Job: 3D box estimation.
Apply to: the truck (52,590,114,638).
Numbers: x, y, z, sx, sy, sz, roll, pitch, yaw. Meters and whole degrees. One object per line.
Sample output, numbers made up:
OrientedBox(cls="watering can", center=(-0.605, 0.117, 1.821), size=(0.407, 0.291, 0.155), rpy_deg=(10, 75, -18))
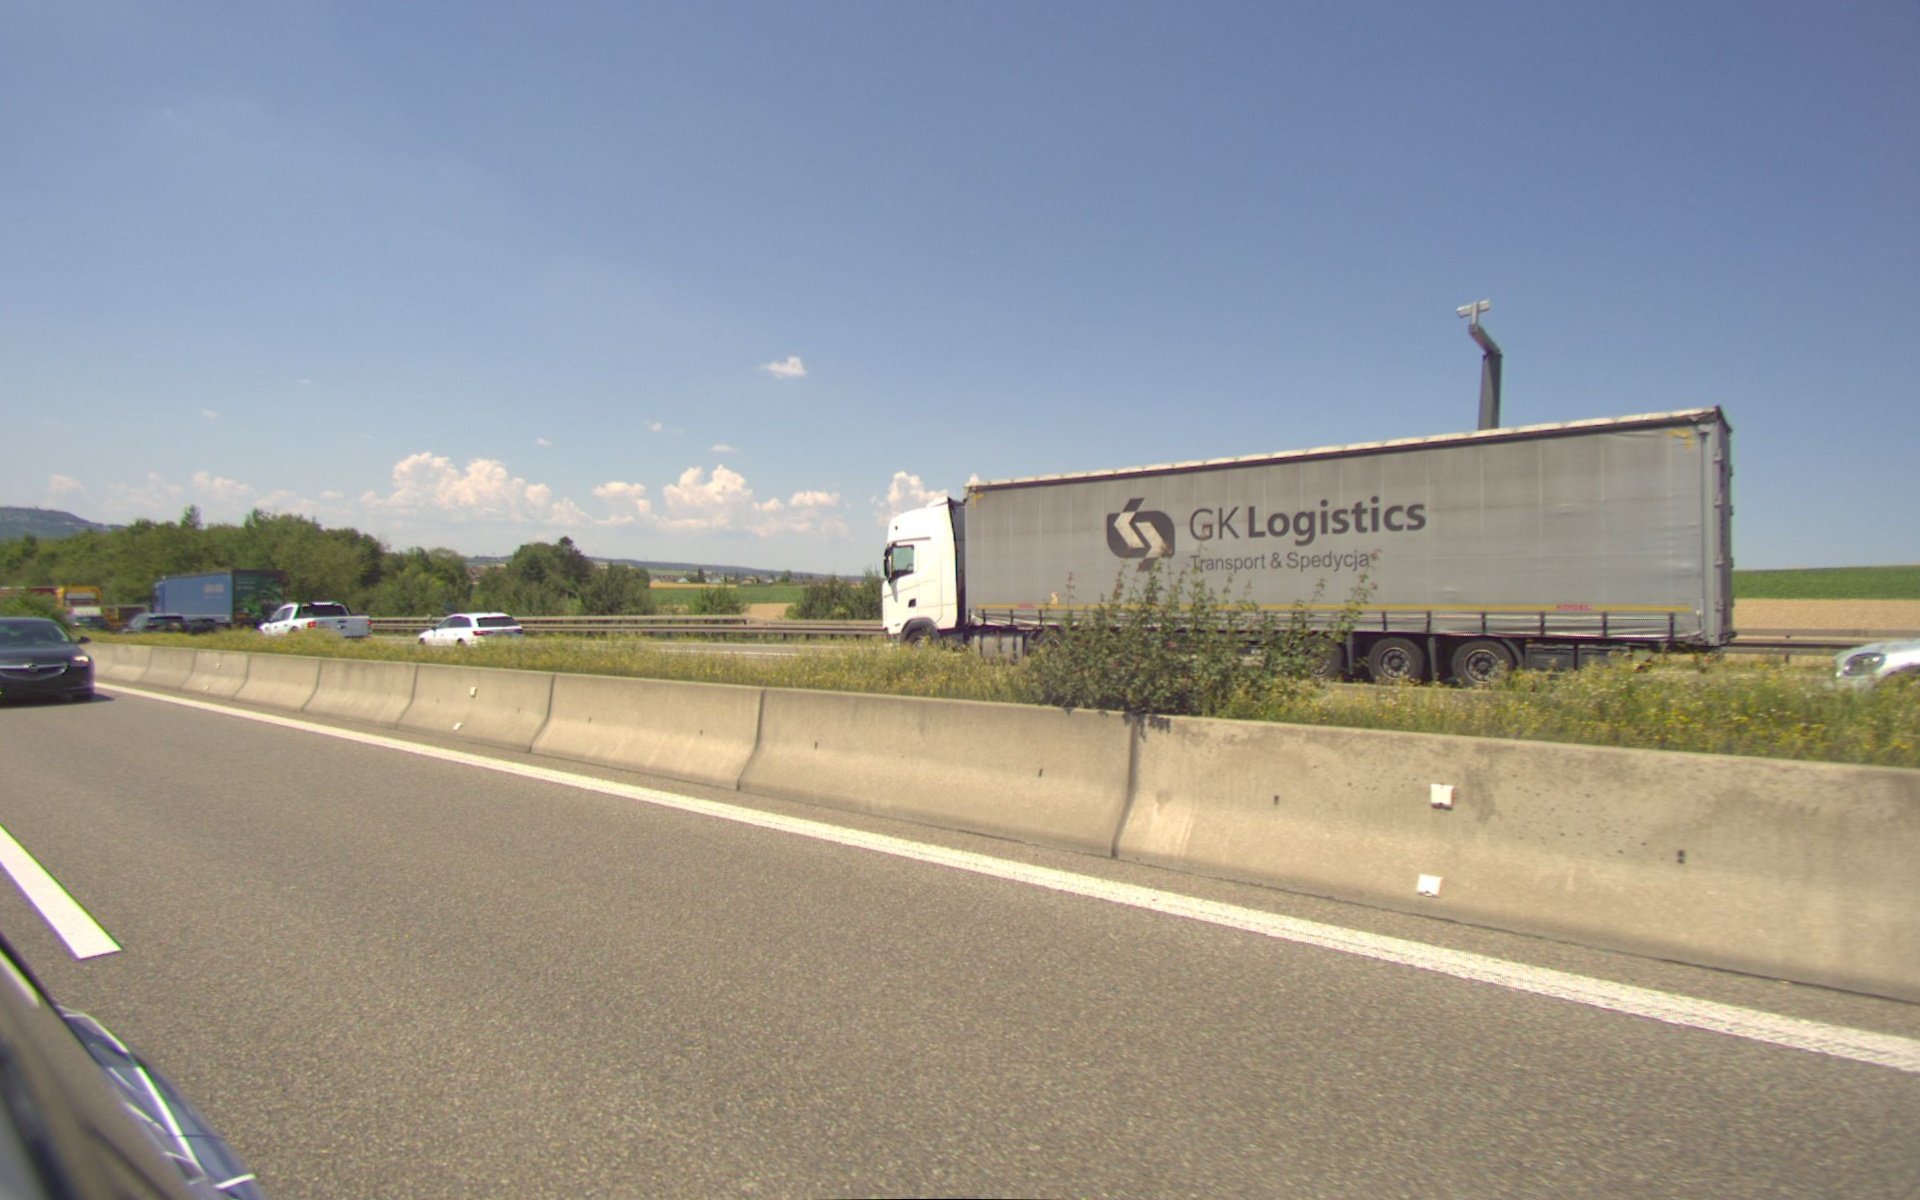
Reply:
OrientedBox(cls="truck", center=(-73.190, 1.171, 84.400), size=(7.090, 3.866, 2.724), rpy_deg=(-1, 0, 39))

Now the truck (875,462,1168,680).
OrientedBox(cls="truck", center=(1.300, -0.573, 23.435), size=(6.144, 4.360, 3.099), rpy_deg=(-1, 0, 41))

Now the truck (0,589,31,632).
OrientedBox(cls="truck", center=(-94.404, 0.997, 99.877), size=(6.305, 4.112, 3.007), rpy_deg=(-1, 0, 37))

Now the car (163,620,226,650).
OrientedBox(cls="car", center=(-39.248, 1.777, 51.887), size=(3.723, 1.414, 1.609), rpy_deg=(-1, 0, 37))

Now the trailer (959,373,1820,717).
OrientedBox(cls="trailer", center=(6.421, -0.646, 18.840), size=(14.540, 4.357, 3.090), rpy_deg=(-1, 0, 42))

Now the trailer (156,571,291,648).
OrientedBox(cls="trailer", center=(-45.102, 0.549, 61.687), size=(14.366, 4.225, 3.130), rpy_deg=(-1, 1, 40))

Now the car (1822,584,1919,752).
OrientedBox(cls="car", center=(10.974, 0.641, 9.337), size=(4.586, 1.599, 1.973), rpy_deg=(-1, -1, 41))

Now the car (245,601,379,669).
OrientedBox(cls="car", center=(-20.225, 1.005, 31.482), size=(5.673, 1.918, 1.973), rpy_deg=(0, 0, 41))

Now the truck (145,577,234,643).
OrientedBox(cls="truck", center=(-50.302, 0.635, 65.988), size=(6.928, 4.121, 3.046), rpy_deg=(-1, 0, 39))

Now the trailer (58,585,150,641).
OrientedBox(cls="trailer", center=(-67.730, 1.029, 79.900), size=(14.365, 4.131, 2.924), rpy_deg=(-1, 0, 39))

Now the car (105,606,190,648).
OrientedBox(cls="car", center=(-34.823, 1.141, 43.331), size=(4.472, 1.685, 1.974), rpy_deg=(-1, 0, 39))

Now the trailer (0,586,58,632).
OrientedBox(cls="trailer", center=(-89.014, 0.866, 95.726), size=(14.361, 4.131, 3.056), rpy_deg=(-1, 0, 38))

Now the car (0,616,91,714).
OrientedBox(cls="car", center=(-17.093, 1.092, 18.089), size=(4.748, 1.555, 1.784), rpy_deg=(-1, -1, 42))

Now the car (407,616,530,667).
OrientedBox(cls="car", center=(-15.646, 1.267, 32.135), size=(4.486, 1.471, 1.825), rpy_deg=(-1, 0, 39))

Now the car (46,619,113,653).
OrientedBox(cls="car", center=(-46.581, 1.854, 53.506), size=(4.345, 1.646, 1.974), rpy_deg=(-1, 0, 39))
